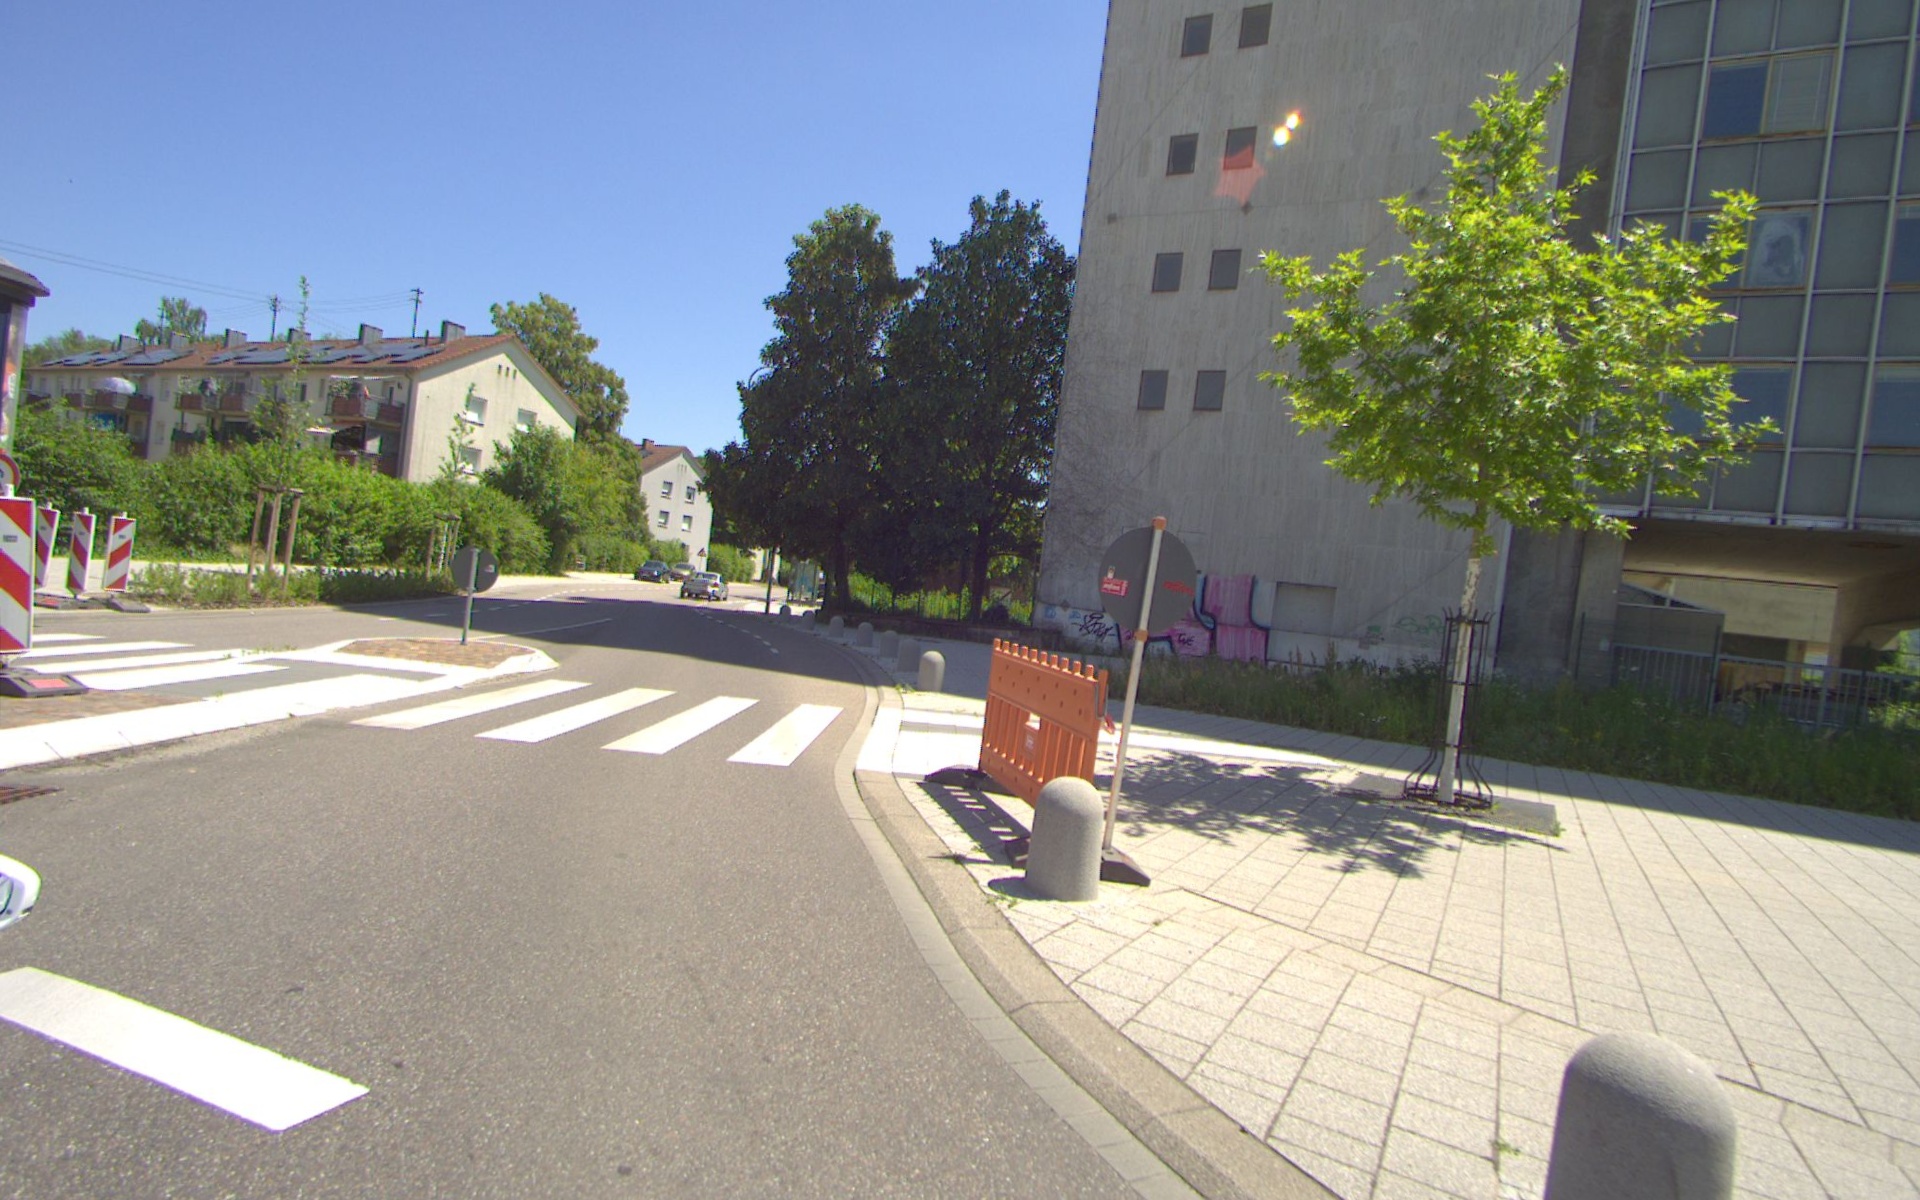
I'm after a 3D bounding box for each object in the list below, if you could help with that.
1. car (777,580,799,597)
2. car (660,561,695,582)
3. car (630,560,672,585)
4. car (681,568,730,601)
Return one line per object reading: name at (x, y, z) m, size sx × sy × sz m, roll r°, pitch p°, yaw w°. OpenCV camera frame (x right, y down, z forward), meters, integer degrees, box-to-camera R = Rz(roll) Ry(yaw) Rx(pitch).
car at (-17.335, -1.191, 101.598) m, size 1.712 × 1.455 × 3.706 m, roll 6°, pitch 1°, yaw -4°
car at (-22.125, -2.194, 78.921) m, size 1.712 × 1.455 × 3.707 m, roll 6°, pitch 1°, yaw -3°
car at (-20.591, -1.843, 67.208) m, size 1.712 × 1.455 × 3.707 m, roll 6°, pitch 1°, yaw -3°
car at (-13.049, -0.821, 51.846) m, size 1.713 × 1.455 × 3.706 m, roll 6°, pitch 1°, yaw -4°
